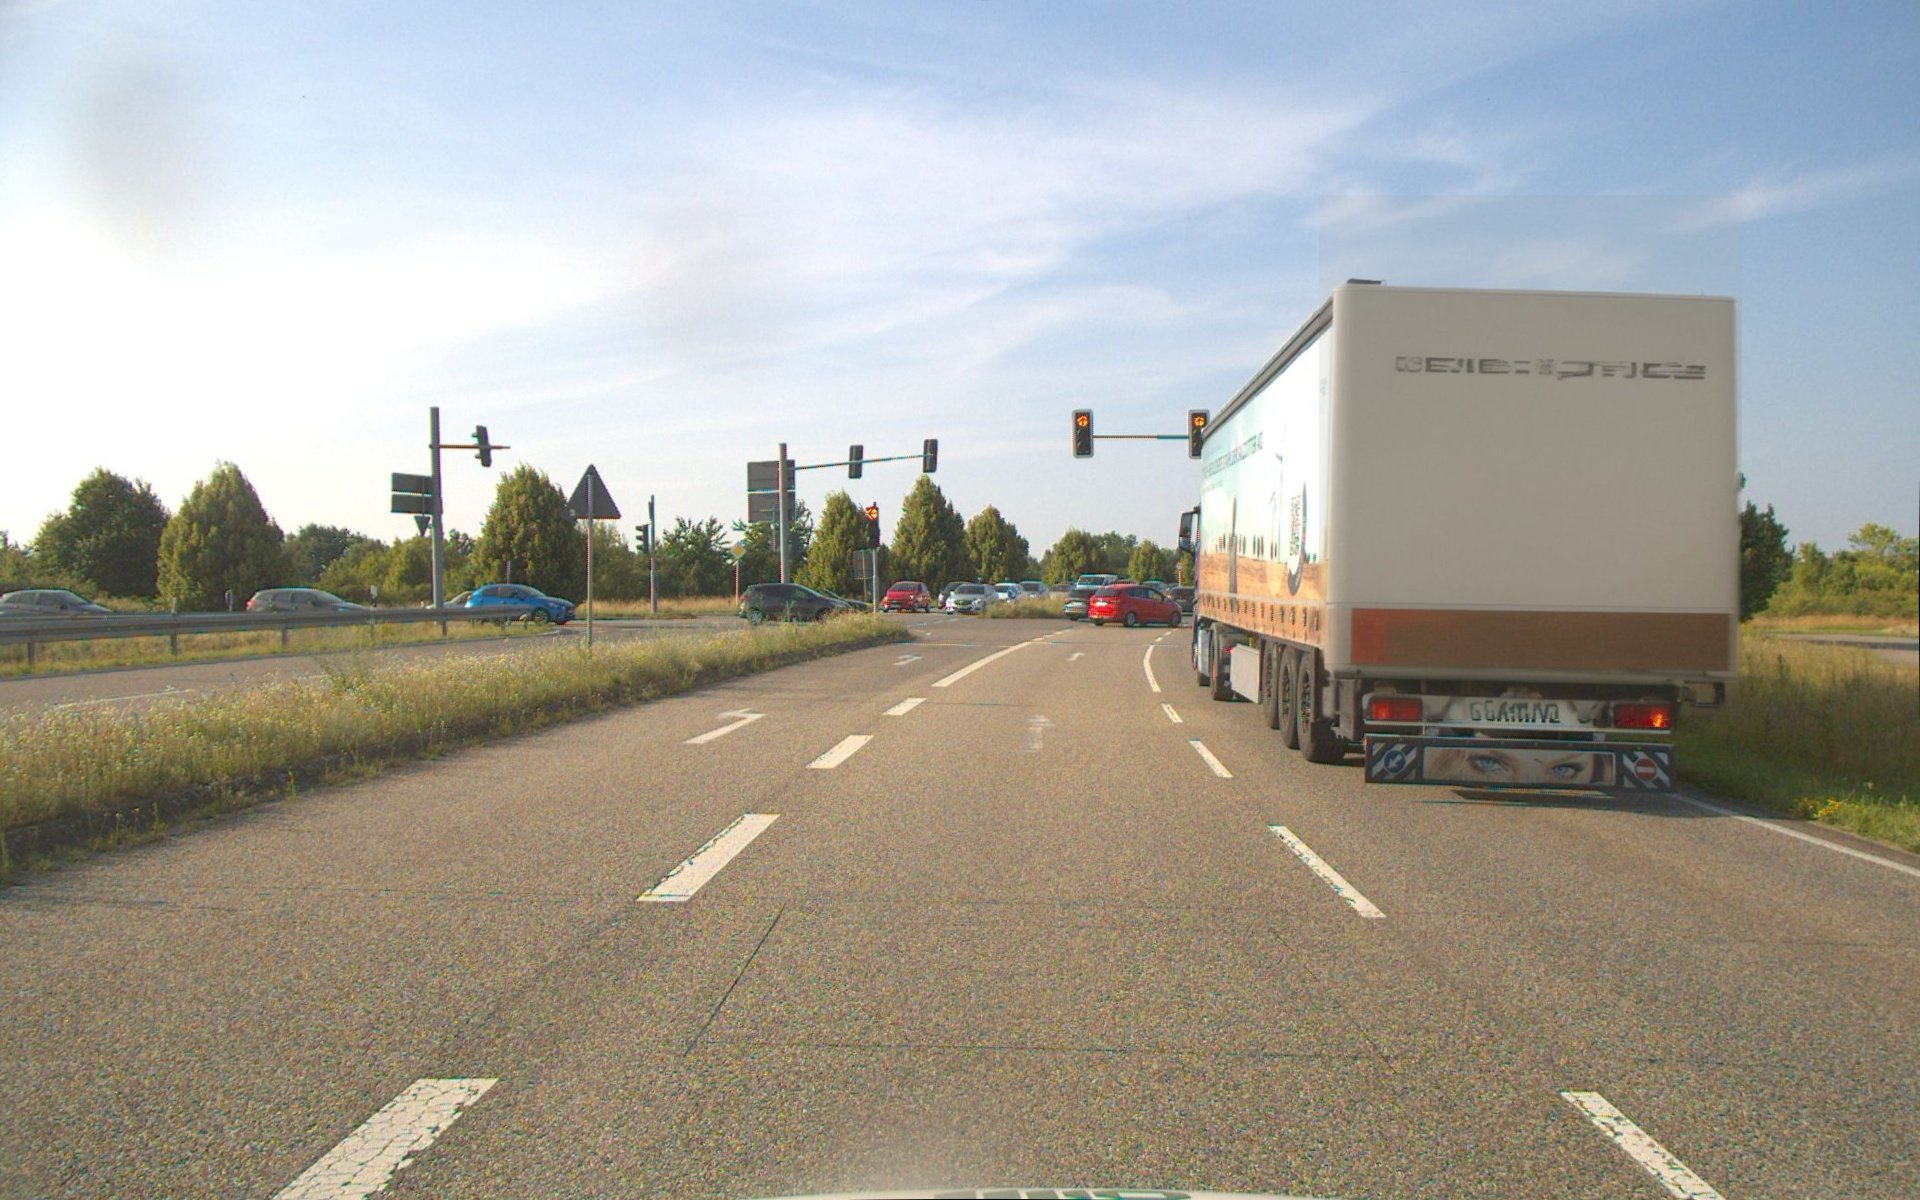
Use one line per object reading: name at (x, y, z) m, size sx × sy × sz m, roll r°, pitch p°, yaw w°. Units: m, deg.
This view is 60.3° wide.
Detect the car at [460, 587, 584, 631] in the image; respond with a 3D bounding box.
car at (-15.684, 0.314, 59.319) m, size 3.887 × 1.518 × 1.780 m, roll 0°, pitch 0°, yaw 10°

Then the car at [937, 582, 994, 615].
car at (0.313, -0.086, 79.017) m, size 1.748 × 1.514 × 4.655 m, roll 0°, pitch 0°, yaw 13°

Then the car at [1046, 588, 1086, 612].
car at (6.345, -0.023, 98.336) m, size 1.748 × 1.410 × 4.055 m, roll 0°, pitch 0°, yaw 13°

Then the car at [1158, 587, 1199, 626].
car at (11.347, 0.360, 85.807) m, size 1.868 × 1.949 × 4.281 m, roll 1°, pitch -1°, yaw 11°

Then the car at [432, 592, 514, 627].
car at (-21.415, 0.414, 72.724) m, size 3.148 × 1.518 × 1.762 m, roll 0°, pitch 0°, yaw -29°

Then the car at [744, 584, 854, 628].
car at (-5.631, 0.223, 58.296) m, size 3.706 × 1.440 × 1.920 m, roll 1°, pitch -1°, yaw -1°

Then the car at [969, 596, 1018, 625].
car at (1.787, 0.515, 86.580) m, size 1.748 × 1.458 × 4.313 m, roll 0°, pitch 0°, yaw 13°

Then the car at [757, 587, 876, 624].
car at (-5.485, 0.228, 63.543) m, size 4.173 × 1.346 × 1.916 m, roll 1°, pitch -1°, yaw 9°

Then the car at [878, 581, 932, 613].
car at (-2.702, -0.146, 81.493) m, size 1.684 × 1.514 × 3.807 m, roll 0°, pitch 0°, yaw 14°

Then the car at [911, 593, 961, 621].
car at (-1.241, 0.341, 87.697) m, size 1.748 × 1.458 × 4.055 m, roll 0°, pitch 0°, yaw 13°

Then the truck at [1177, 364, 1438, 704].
truck at (5.248, -0.937, 26.074) m, size 3.231 × 4.739 × 5.735 m, roll 1°, pitch 0°, yaw 4°

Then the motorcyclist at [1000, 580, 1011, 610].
motorcyclist at (2.830, -0.298, 102.926) m, size 0.648 × 1.848 × 0.605 m, roll 0°, pitch 0°, yaw 6°

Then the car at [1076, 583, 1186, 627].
car at (6.658, 0.217, 64.237) m, size 4.238 × 1.592 × 1.874 m, roll 2°, pitch -1°, yaw -40°

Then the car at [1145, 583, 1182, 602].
car at (15.207, -0.544, 123.511) m, size 1.749 × 1.410 × 4.051 m, roll 0°, pitch 0°, yaw 22°

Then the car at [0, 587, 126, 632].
car at (-33.747, 0.361, 61.980) m, size 4.093 × 1.633 × 1.791 m, roll 1°, pitch -1°, yaw 7°

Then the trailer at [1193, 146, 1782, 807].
trailer at (4.739, -0.939, 18.573) m, size 3.212 × 4.763 × 13.154 m, roll 1°, pitch 0°, yaw 4°

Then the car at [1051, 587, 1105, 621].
car at (5.071, 0.190, 70.602) m, size 1.797 × 1.401 × 4.281 m, roll 1°, pitch -1°, yaw 11°
